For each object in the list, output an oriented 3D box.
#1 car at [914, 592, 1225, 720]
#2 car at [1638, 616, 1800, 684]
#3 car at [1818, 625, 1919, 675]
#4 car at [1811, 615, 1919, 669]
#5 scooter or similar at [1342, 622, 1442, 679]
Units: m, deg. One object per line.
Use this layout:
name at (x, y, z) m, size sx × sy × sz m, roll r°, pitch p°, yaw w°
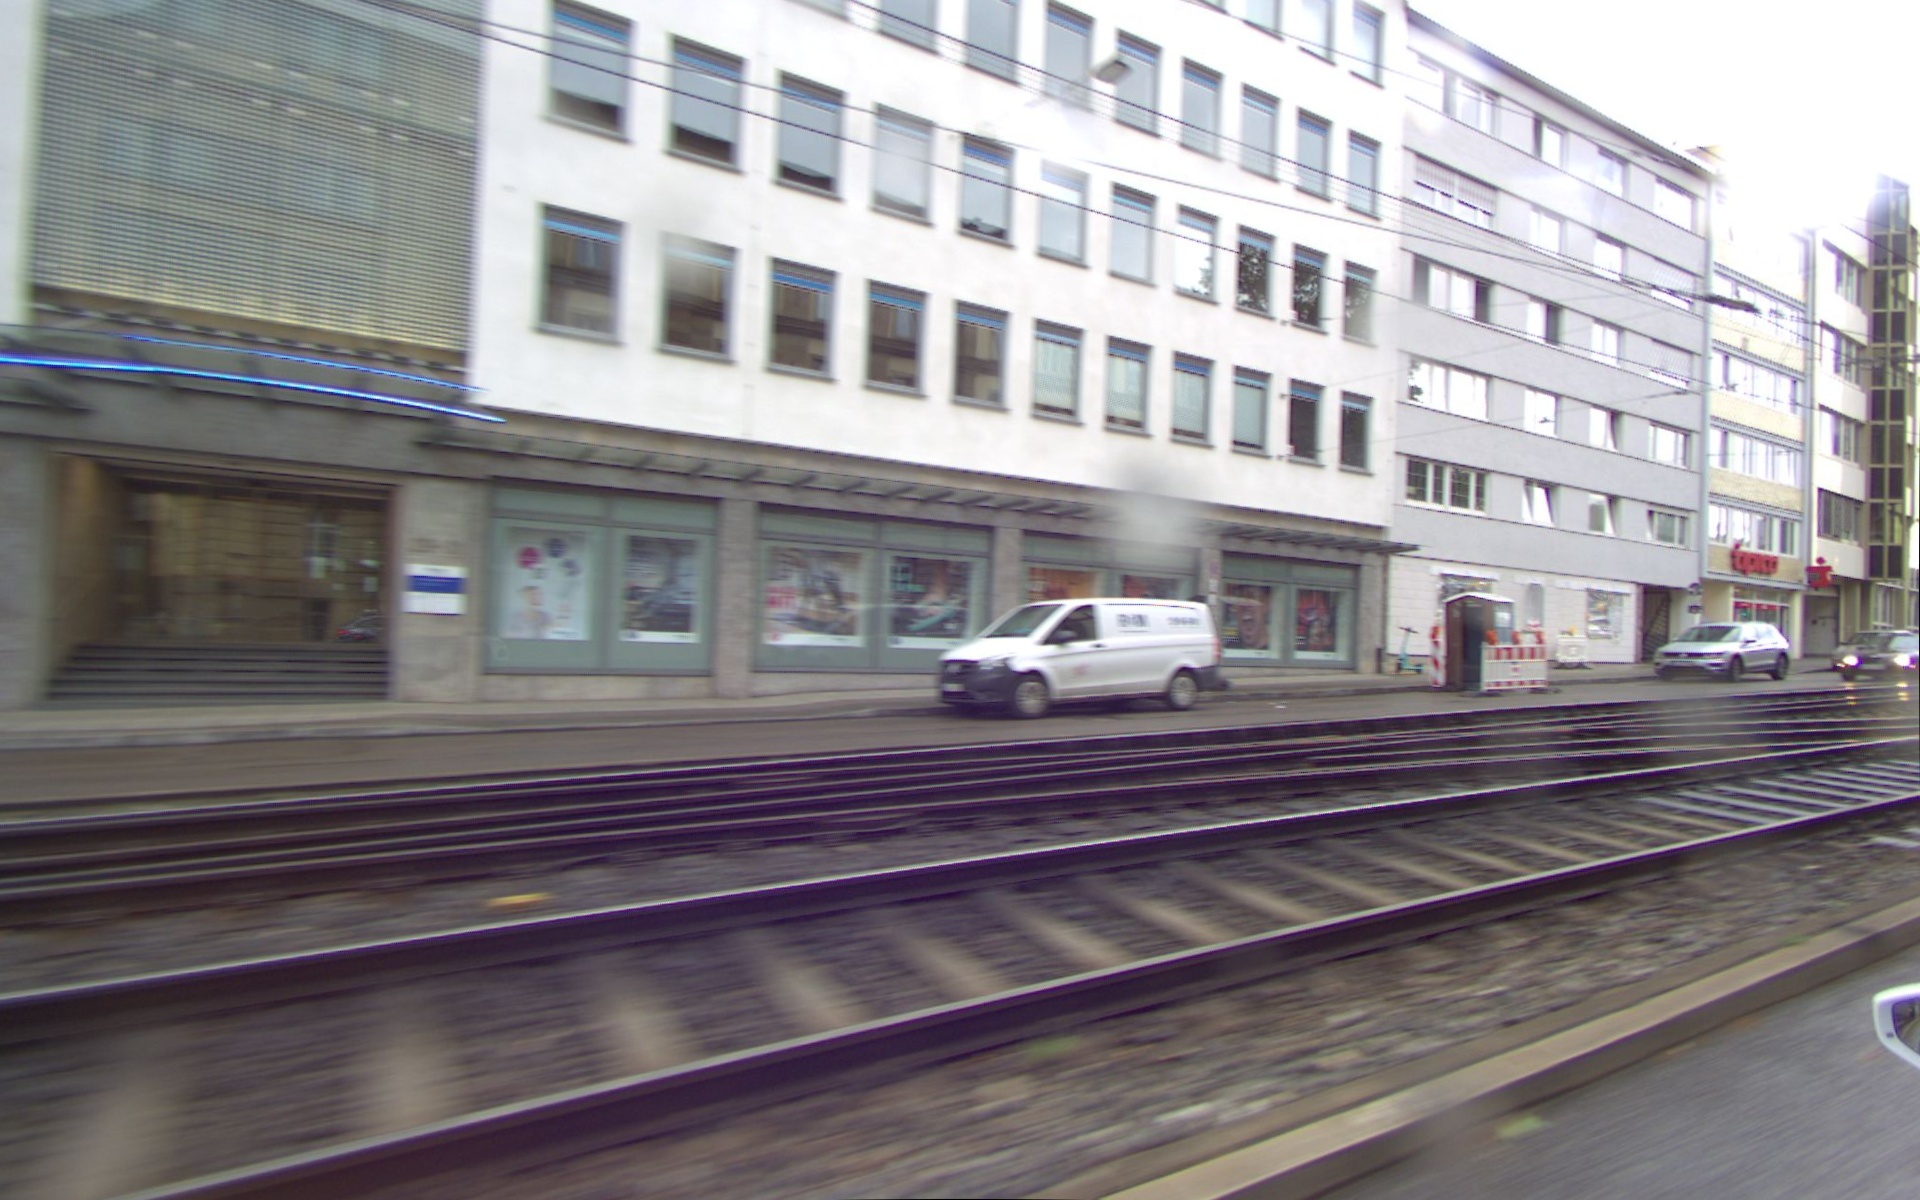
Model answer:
car at (1.930, 0.931, 16.875) m, size 5.076 × 1.866 × 1.983 m, roll 2°, pitch -2°, yaw -32°
car at (21.406, 1.347, 28.306) m, size 4.639 × 1.696 × 1.984 m, roll 0°, pitch 1°, yaw -30°
car at (25.742, 1.393, 27.632) m, size 4.644 × 1.271 × 1.983 m, roll 2°, pitch -3°, yaw -32°
car at (31.573, 1.457, 34.700) m, size 4.644 × 1.696 × 1.982 m, roll 2°, pitch 0°, yaw -32°
scooter or similar at (11.318, 1.331, 26.245) m, size 3.053 × 1.392 × 0.693 m, roll 2°, pitch 0°, yaw -31°
